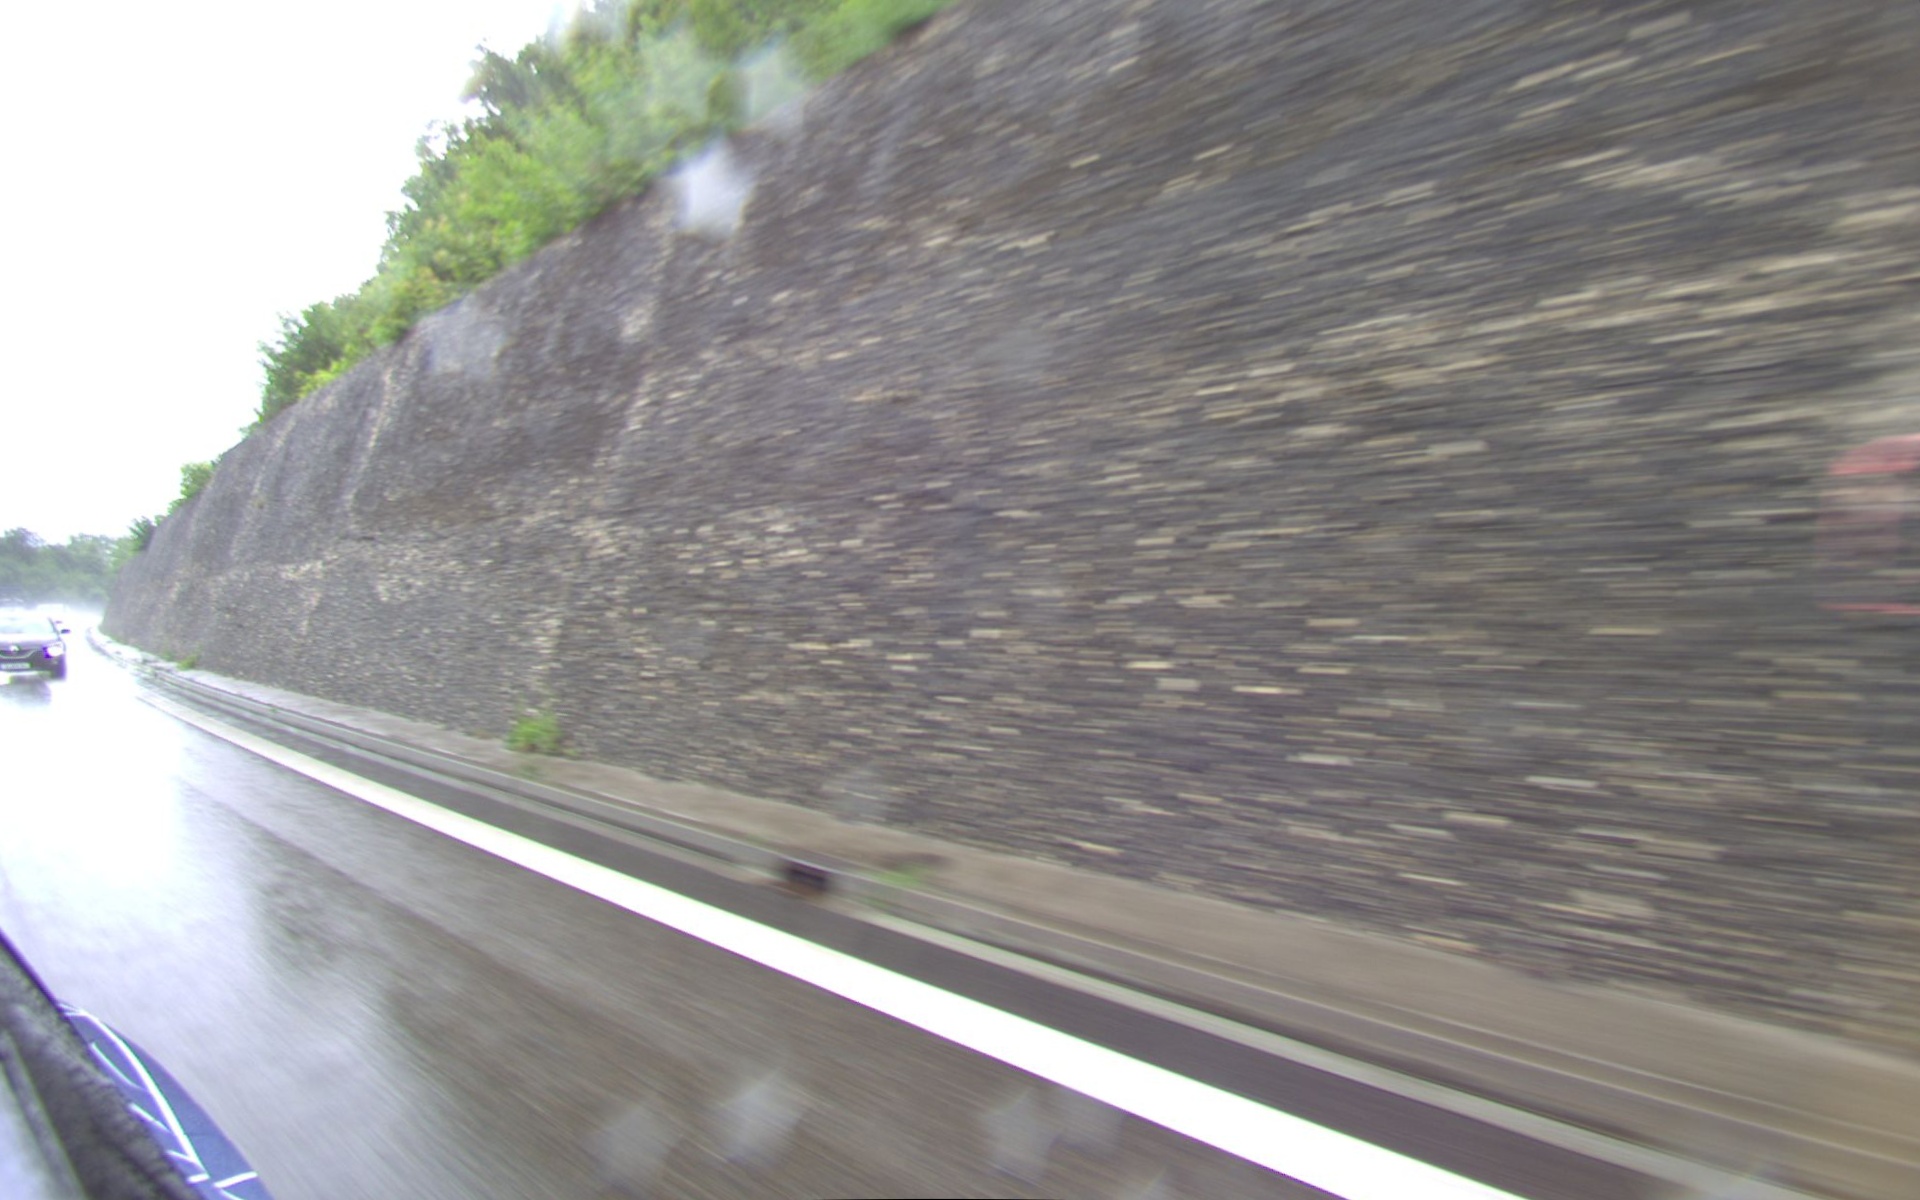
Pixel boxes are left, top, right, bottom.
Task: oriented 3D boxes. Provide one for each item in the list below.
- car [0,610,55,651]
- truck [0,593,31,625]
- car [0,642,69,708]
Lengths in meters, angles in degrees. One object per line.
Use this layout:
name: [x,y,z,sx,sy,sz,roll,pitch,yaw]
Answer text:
car: [-35.063,1.132,37.820,1.801,1.393,4.005,-3,1,-42]
truck: [-129.358,1.235,137.846,2.765,4.338,6.484,0,-1,-31]
car: [-21.804,1.686,23.102,4.000,1.394,1.803,-3,-4,43]
